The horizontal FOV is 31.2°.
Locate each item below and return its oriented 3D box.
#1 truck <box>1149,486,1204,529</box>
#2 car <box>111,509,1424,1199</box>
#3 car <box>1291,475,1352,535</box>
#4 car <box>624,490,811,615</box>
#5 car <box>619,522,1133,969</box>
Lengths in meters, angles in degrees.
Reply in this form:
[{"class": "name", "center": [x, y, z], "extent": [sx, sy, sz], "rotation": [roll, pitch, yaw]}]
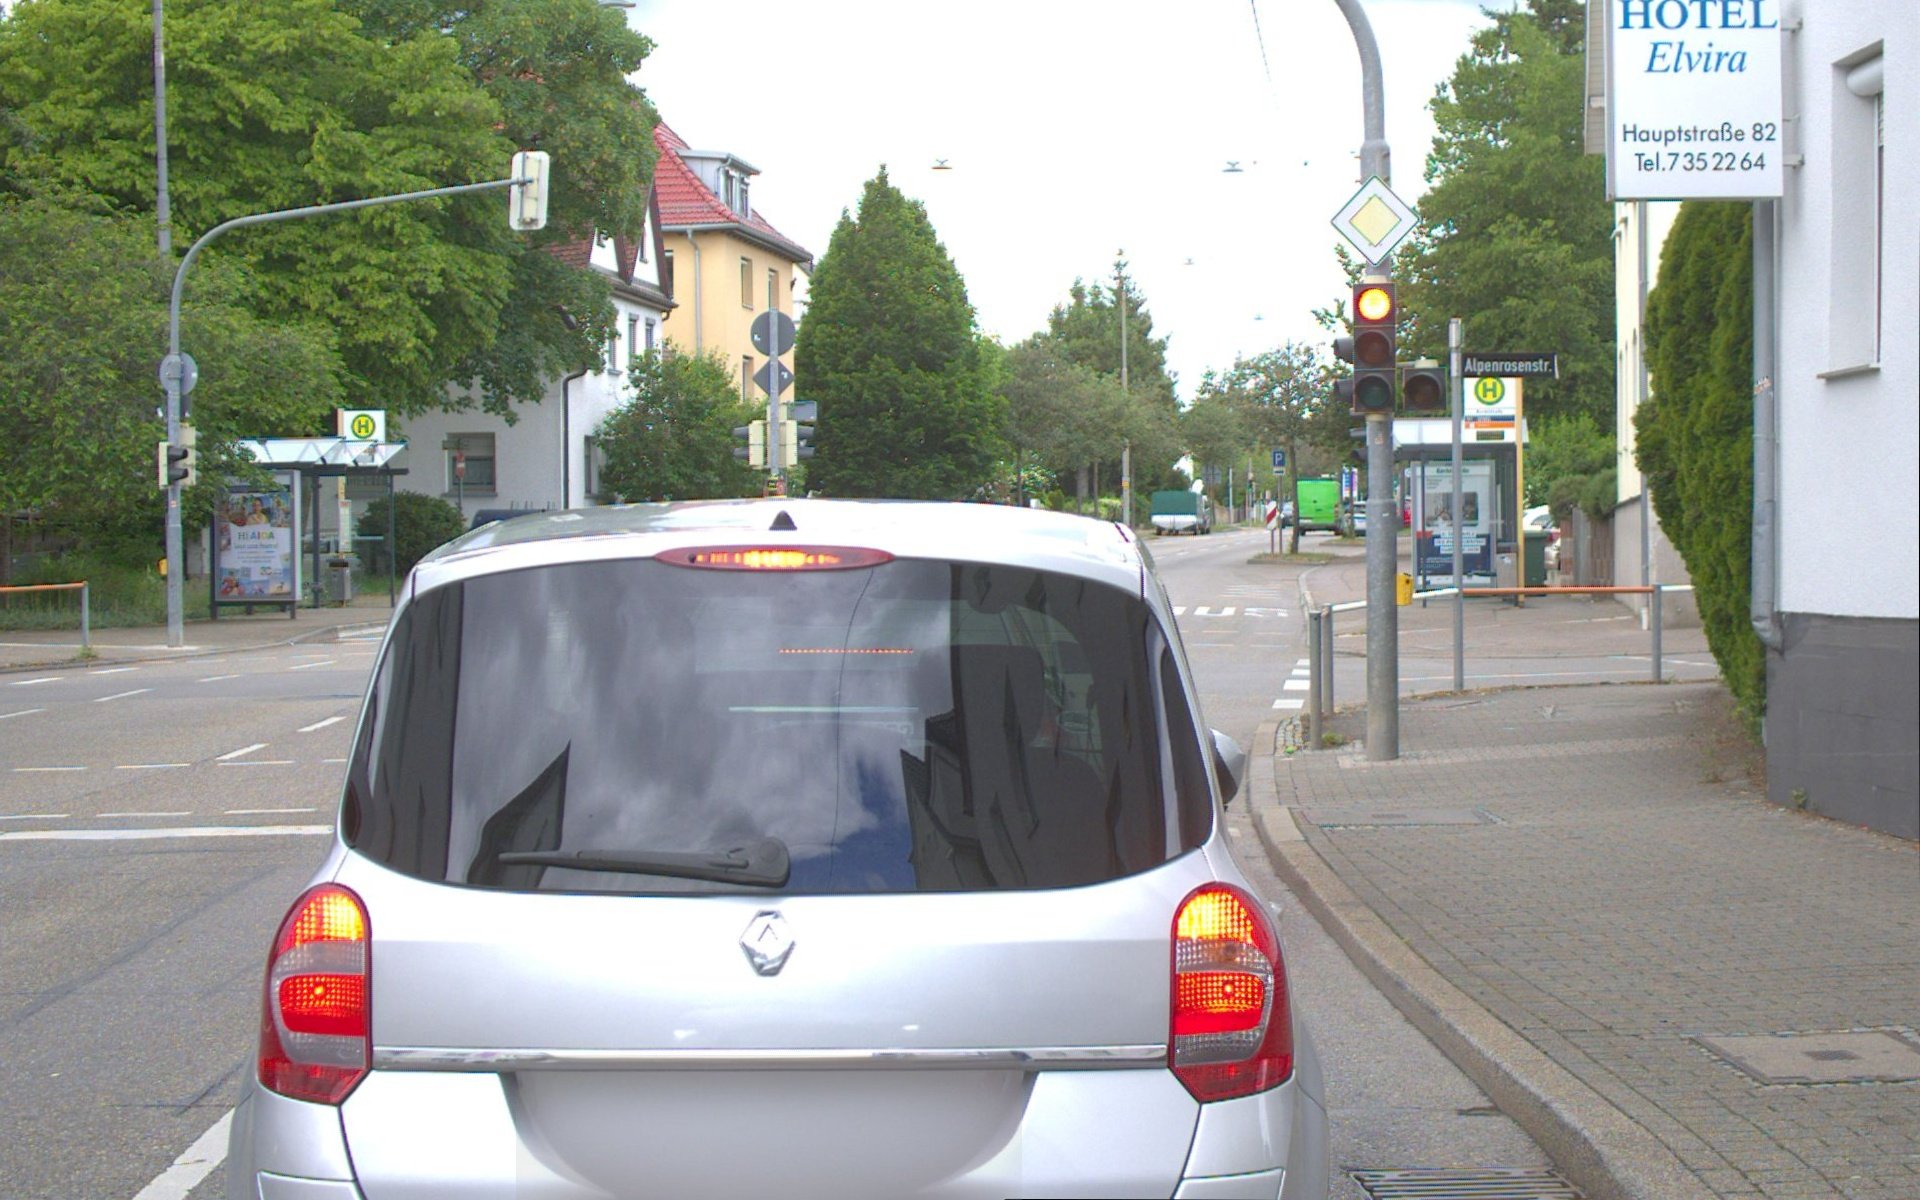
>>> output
[{"class": "truck", "center": [10.528, -4.474, 166.578], "extent": [2.102, 2.007, 5.745], "rotation": [1, 1, 9]}, {"class": "car", "center": [-0.294, 0.615, 6.616], "extent": [1.755, 1.525, 4.000], "rotation": [0, 1, -1]}, {"class": "car", "center": [15.364, -4.010, 145.918], "extent": [2.060, 2.503, 5.593], "rotation": [1, 1, 11]}, {"class": "car", "center": [-3.777, -0.764, 54.268], "extent": [1.927, 1.767, 3.999], "rotation": [-4, 1, 10]}, {"class": "car", "center": [-0.321, 0.471, 13.711], "extent": [1.755, 1.525, 3.797], "rotation": [0, 1, -1]}]
